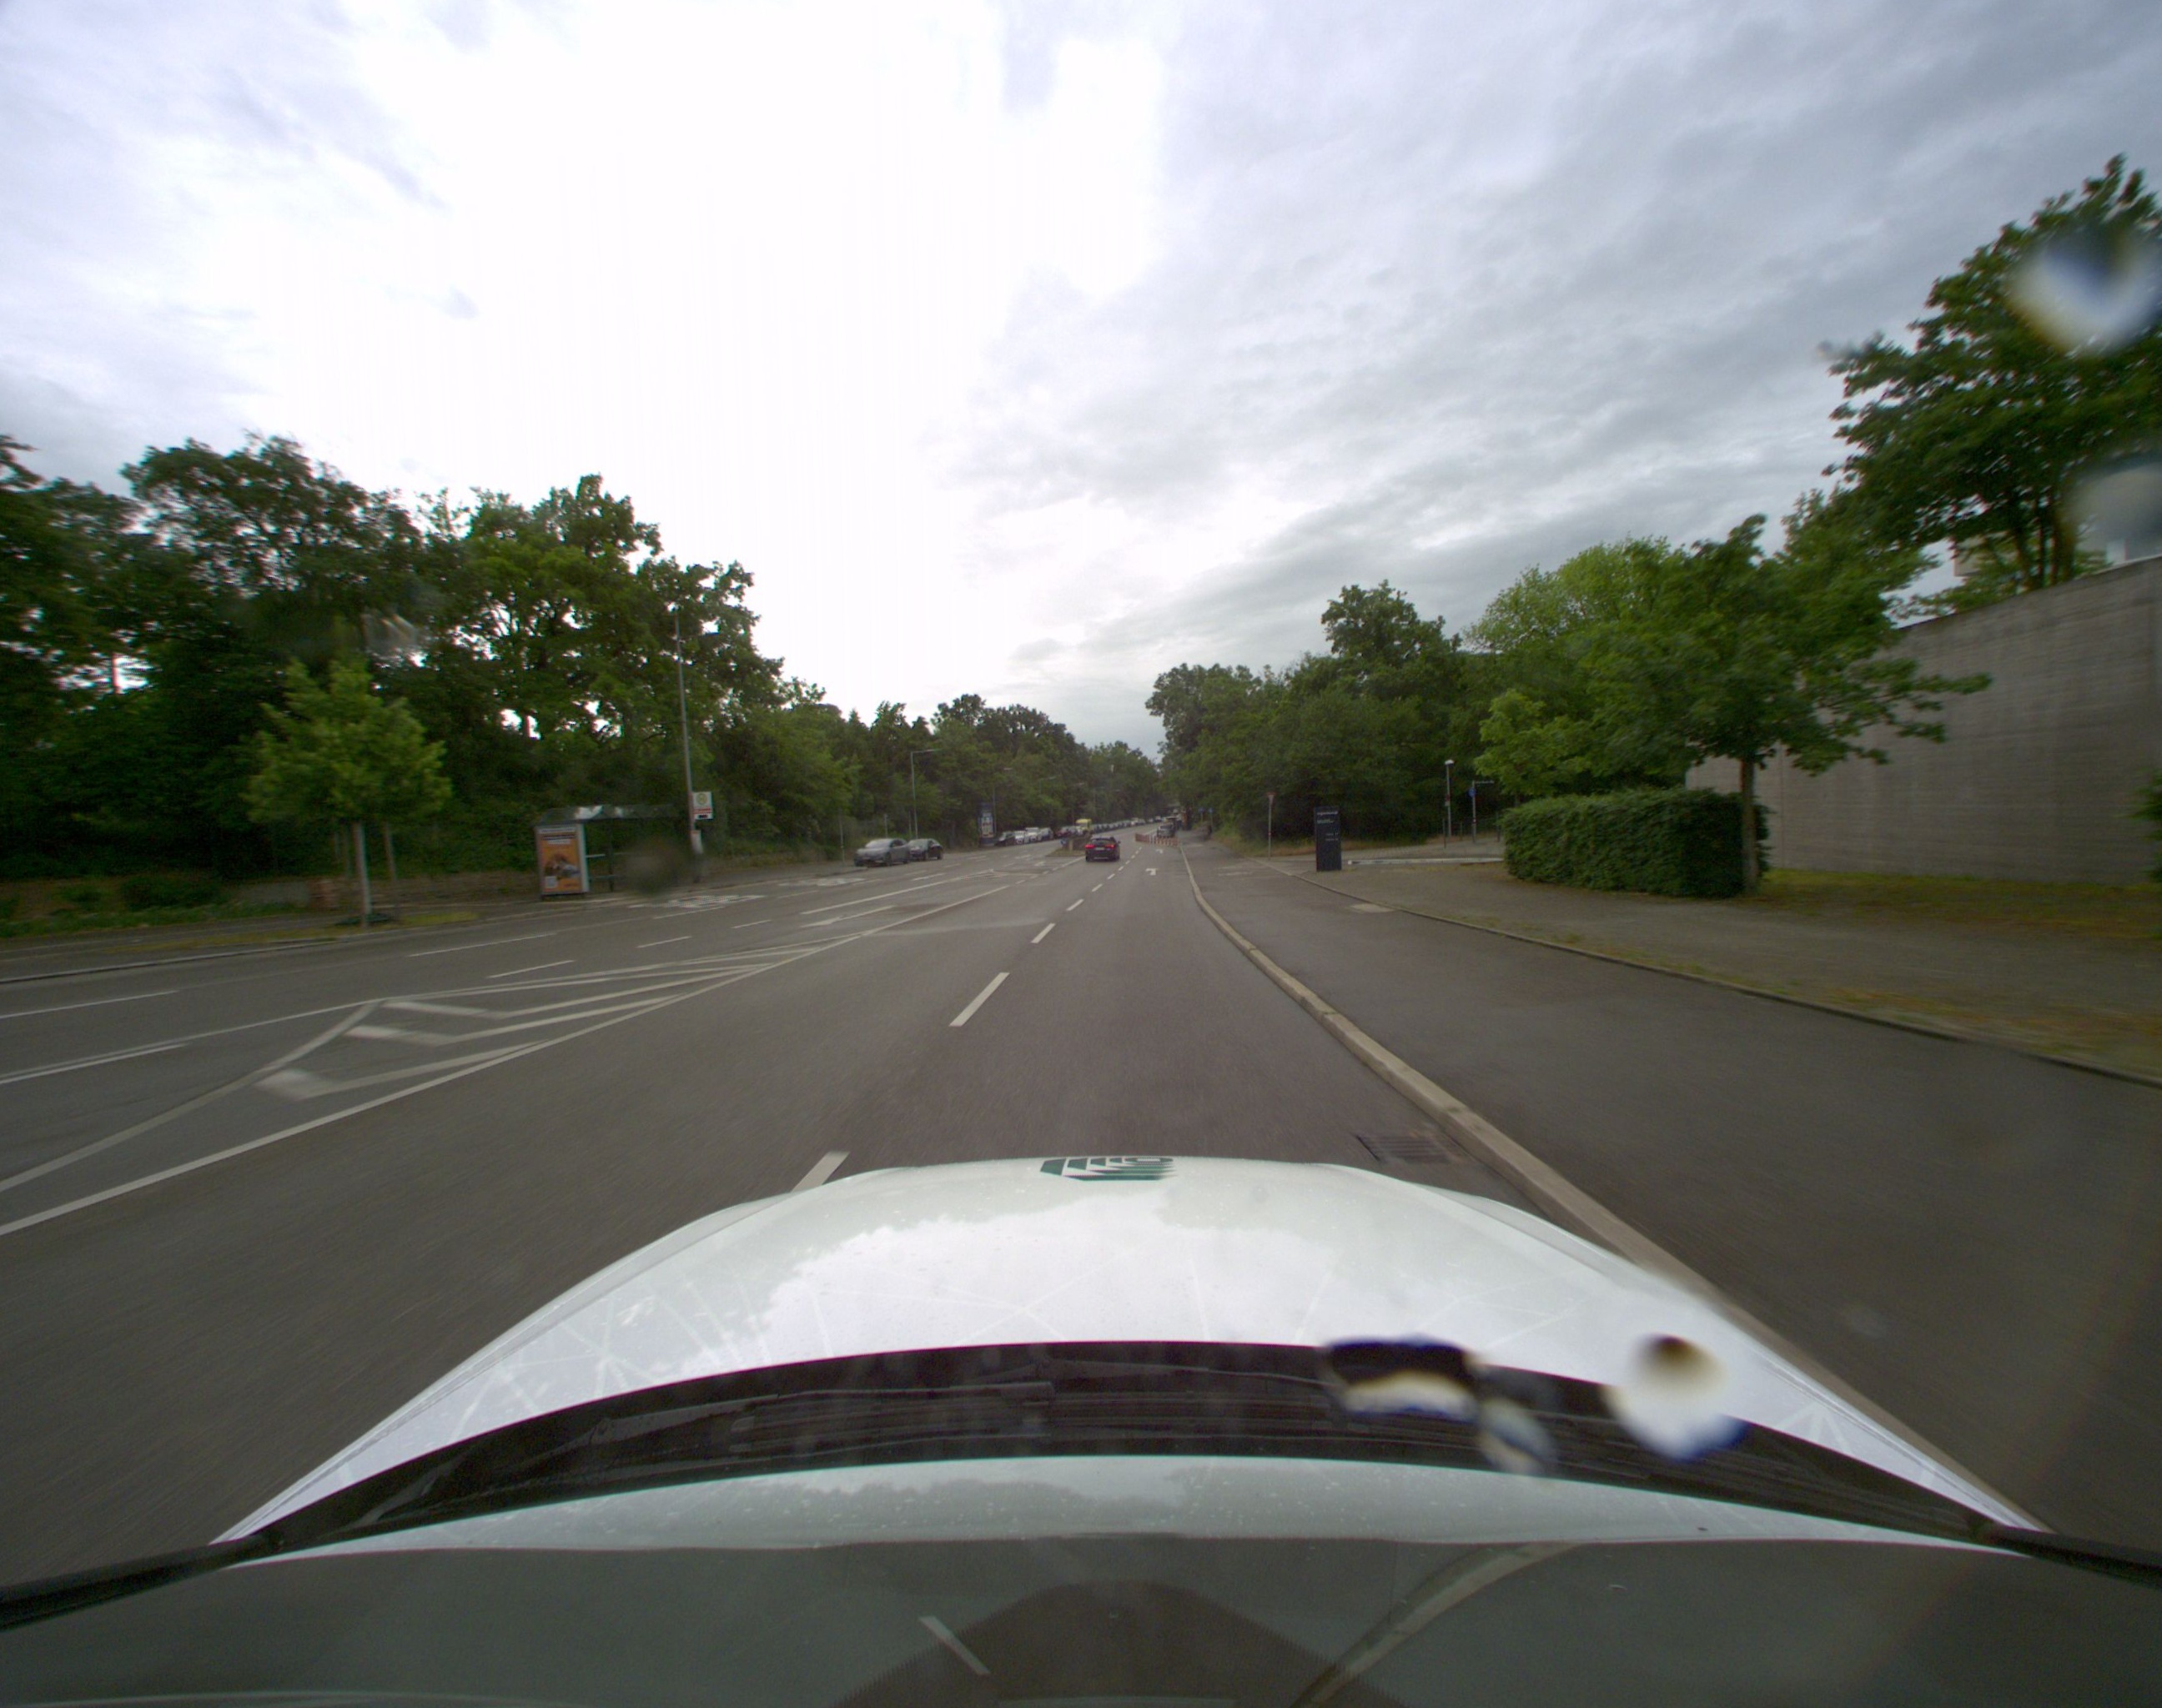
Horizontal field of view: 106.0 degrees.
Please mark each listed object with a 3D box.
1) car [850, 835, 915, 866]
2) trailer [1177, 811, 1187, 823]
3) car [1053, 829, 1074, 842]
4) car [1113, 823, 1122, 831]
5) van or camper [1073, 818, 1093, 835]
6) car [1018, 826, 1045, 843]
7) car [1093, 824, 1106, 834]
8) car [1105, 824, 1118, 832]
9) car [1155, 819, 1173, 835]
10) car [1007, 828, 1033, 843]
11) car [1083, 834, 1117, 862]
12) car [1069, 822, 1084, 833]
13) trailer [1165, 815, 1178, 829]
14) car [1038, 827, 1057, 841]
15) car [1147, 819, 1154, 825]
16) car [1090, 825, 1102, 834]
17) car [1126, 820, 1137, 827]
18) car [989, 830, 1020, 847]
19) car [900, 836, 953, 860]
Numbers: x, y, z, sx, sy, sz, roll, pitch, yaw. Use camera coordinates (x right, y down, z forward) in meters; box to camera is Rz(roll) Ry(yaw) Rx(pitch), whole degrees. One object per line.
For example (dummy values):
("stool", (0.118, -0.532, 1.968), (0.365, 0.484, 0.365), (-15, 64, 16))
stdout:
("car", (-11.285, -0.246, 46.627), (1.830, 1.589, 4.941), (-1, 2, 8))
("trailer", (22.747, -8.297, 182.697), (2.120, 2.559, 4.307), (-2, 2, 7))
("car", (-2.384, -2.619, 112.332), (1.907, 1.616, 4.503), (-3, 2, 10))
("car", (7.232, -5.426, 162.468), (1.452, 1.570, 2.992), (-2, 2, 8))
("van or camper", (0.378, -4.376, 129.116), (2.130, 2.626, 5.700), (-2, 2, 10))
("car", (-5.618, -2.296, 93.108), (1.982, 1.765, 4.974), (-2, 2, 9))
("car", (3.329, -4.466, 145.138), (1.592, 1.509, 3.989), (-2, 3, 11))
("car", (5.805, -4.967, 154.447), (1.858, 1.303, 4.483), (-2, 3, 9))
("car", (8.987, -2.939, 88.214), (1.813, 1.614, 4.258), (-1, 2, 5))
("car", (-6.507, -1.976, 87.682), (1.708, 1.460, 4.722), (-2, 2, 9))
("car", (1.064, -0.396, 47.397), (1.875, 1.465, 4.000), (0, 3, 0))
("car", (-0.689, -3.993, 122.546), (1.607, 1.448, 3.668), (-3, 2, 10))
("trailer", (15.228, -5.368, 136.688), (1.895, 2.247, 4.781), (-2, 3, 9))
("car", (-4.104, -2.473, 100.748), (1.722, 1.648, 4.580), (-1, 2, 6))
("car", (21.099, -9.723, 247.069), (1.662, 1.513, 3.640), (-1, 3, 9))
("car", (2.562, -4.196, 139.835), (1.592, 1.509, 3.149), (-2, 3, 11))
("car", (11.866, -7.168, 191.233), (1.981, 1.488, 4.482), (-2, 2, 10))
("car", (-7.627, -1.579, 81.555), (1.737, 1.445, 4.603), (-1, 2, 12))
("car", (-9.922, -0.435, 52.746), (1.895, 1.414, 4.795), (-1, 2, 8))
